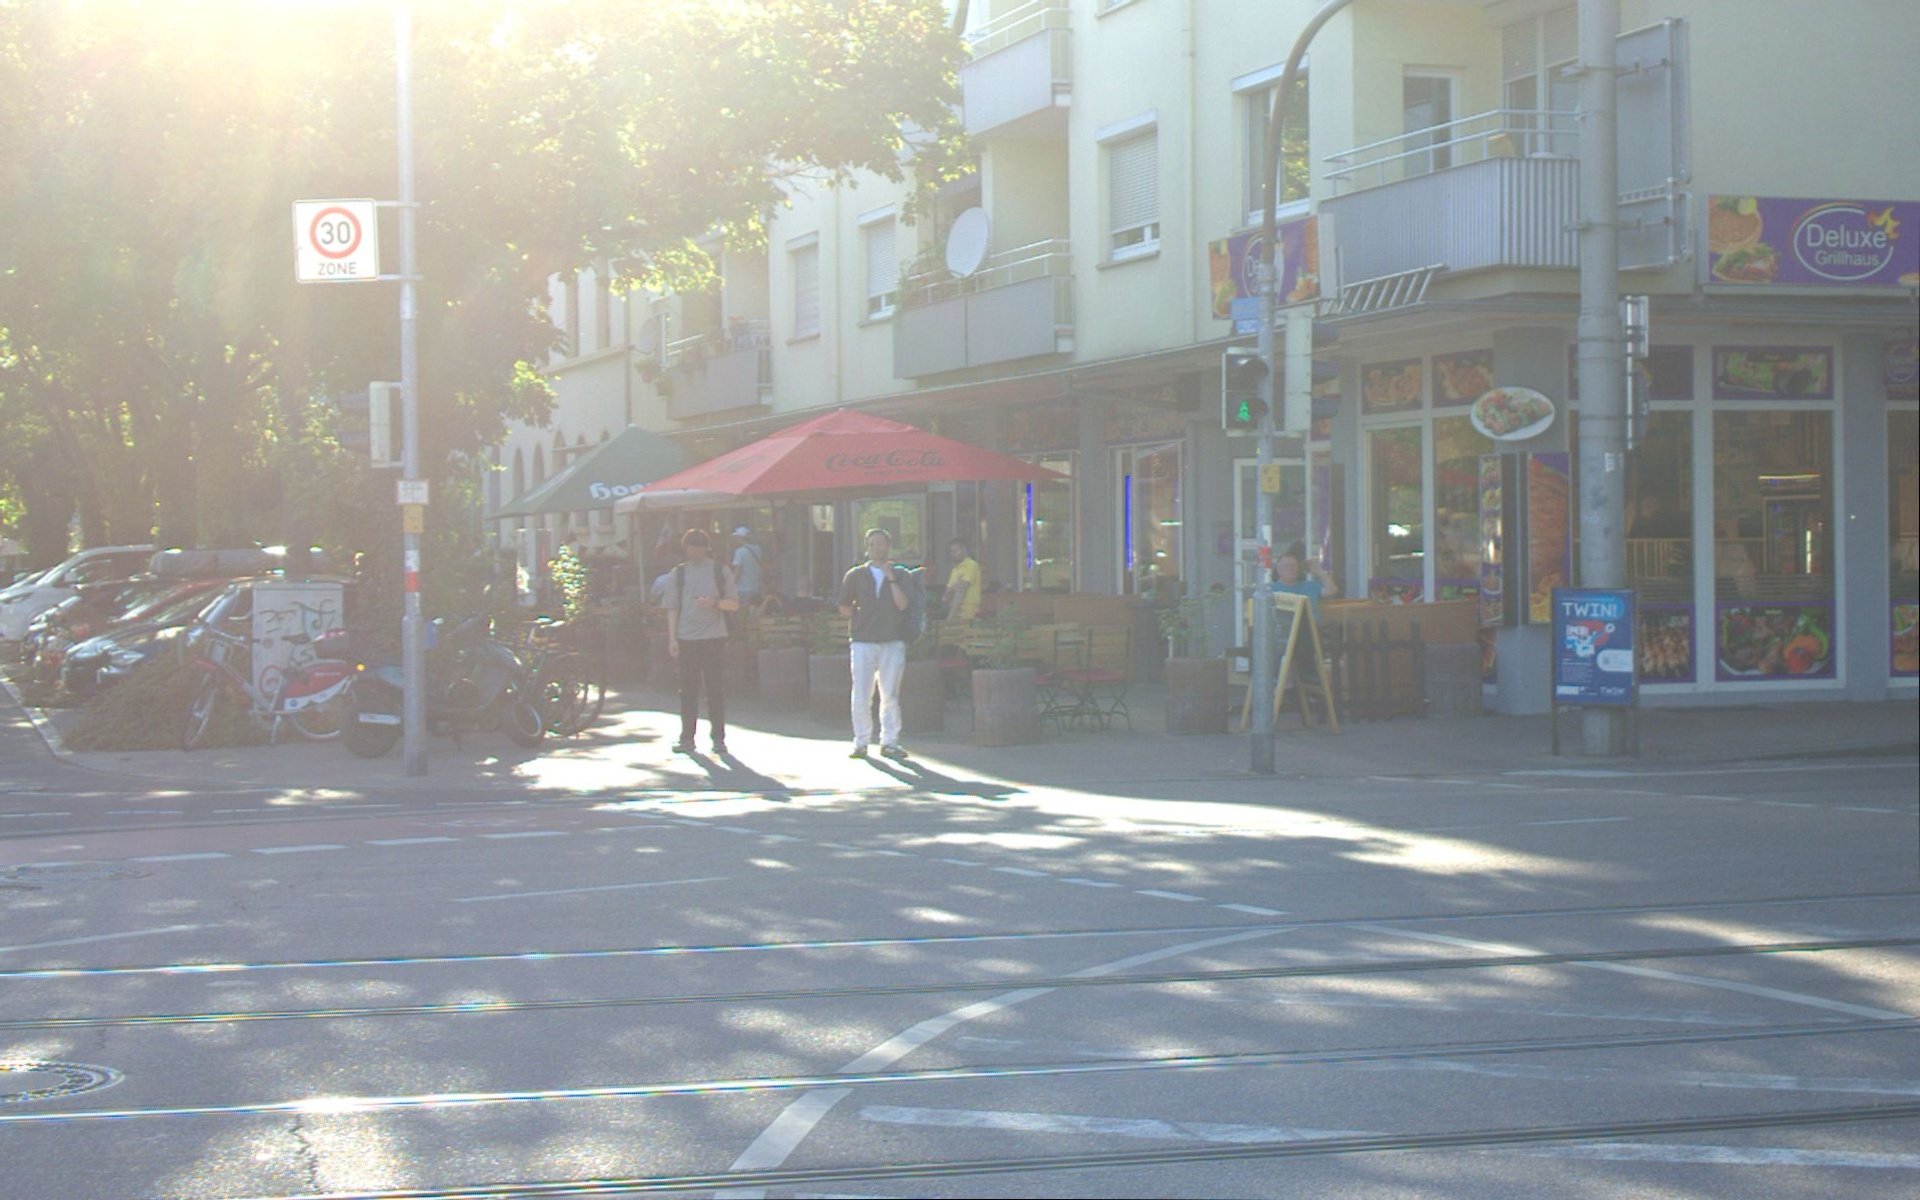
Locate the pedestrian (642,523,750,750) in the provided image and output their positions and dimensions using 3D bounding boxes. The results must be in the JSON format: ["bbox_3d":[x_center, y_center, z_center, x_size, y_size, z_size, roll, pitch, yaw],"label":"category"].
[{"bbox_3d":[-2.074,0.274,26.995,0.691,1.744,0.795,-1,1,-15],"label":"pedestrian"}]

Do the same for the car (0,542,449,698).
[{"bbox_3d":[-9.793,0.263,45.449,5.619,1.917,2.363,-1,-1,-20],"label":"car"}]

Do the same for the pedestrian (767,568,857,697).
[{"bbox_3d":[-1.604,0.344,37.163,0.811,1.358,0.914,-1,1,-12],"label":"pedestrian"}]

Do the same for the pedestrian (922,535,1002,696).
[{"bbox_3d":[0.018,0.151,34.331,0.617,1.586,0.478,-1,1,-34],"label":"pedestrian"}]

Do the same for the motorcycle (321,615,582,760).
[{"bbox_3d":[-4.168,0.703,28.163,1.951,1.105,0.837,-1,1,-23],"label":"motorcycle"}]

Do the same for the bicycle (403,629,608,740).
[{"bbox_3d":[-4.040,0.745,30.580,1.723,0.929,0.562,-1,1,-18],"label":"bicycle"}]

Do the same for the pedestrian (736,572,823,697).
[{"bbox_3d":[-2.020,0.376,38.427,0.811,1.358,0.914,-1,1,-12],"label":"pedestrian"}]

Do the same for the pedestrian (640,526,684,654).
[{"bbox_3d":[-4.706,-0.163,54.241,0.535,2.007,0.512,-1,1,-25],"label":"pedestrian"}]

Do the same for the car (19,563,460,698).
[{"bbox_3d":[-9.020,0.382,42.975,5.089,1.552,2.363,-1,-1,-20],"label":"car"}]

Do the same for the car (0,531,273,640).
[{"bbox_3d":[-15.649,-0.264,64.466,5.089,1.917,2.363,-1,-1,-20],"label":"car"}]

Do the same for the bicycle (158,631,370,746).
[{"bbox_3d":[-6.010,0.754,29.693,1.723,0.929,0.672,-1,1,-18],"label":"bicycle"}]

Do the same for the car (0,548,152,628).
[{"bbox_3d":[-23.202,-0.294,86.966,5.089,1.917,2.363,-1,-1,-20],"label":"car"}]

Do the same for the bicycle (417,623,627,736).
[{"bbox_3d":[-3.803,0.682,29.848,1.723,0.929,0.562,-1,1,-18],"label":"bicycle"}]

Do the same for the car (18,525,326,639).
[{"bbox_3d":[-14.116,-0.317,61.559,5.089,1.917,2.363,-1,-1,-20],"label":"car"}]

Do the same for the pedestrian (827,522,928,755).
[{"bbox_3d":[-0.637,0.280,26.216,0.691,1.744,0.840,0,1,-6],"label":"pedestrian"}]
